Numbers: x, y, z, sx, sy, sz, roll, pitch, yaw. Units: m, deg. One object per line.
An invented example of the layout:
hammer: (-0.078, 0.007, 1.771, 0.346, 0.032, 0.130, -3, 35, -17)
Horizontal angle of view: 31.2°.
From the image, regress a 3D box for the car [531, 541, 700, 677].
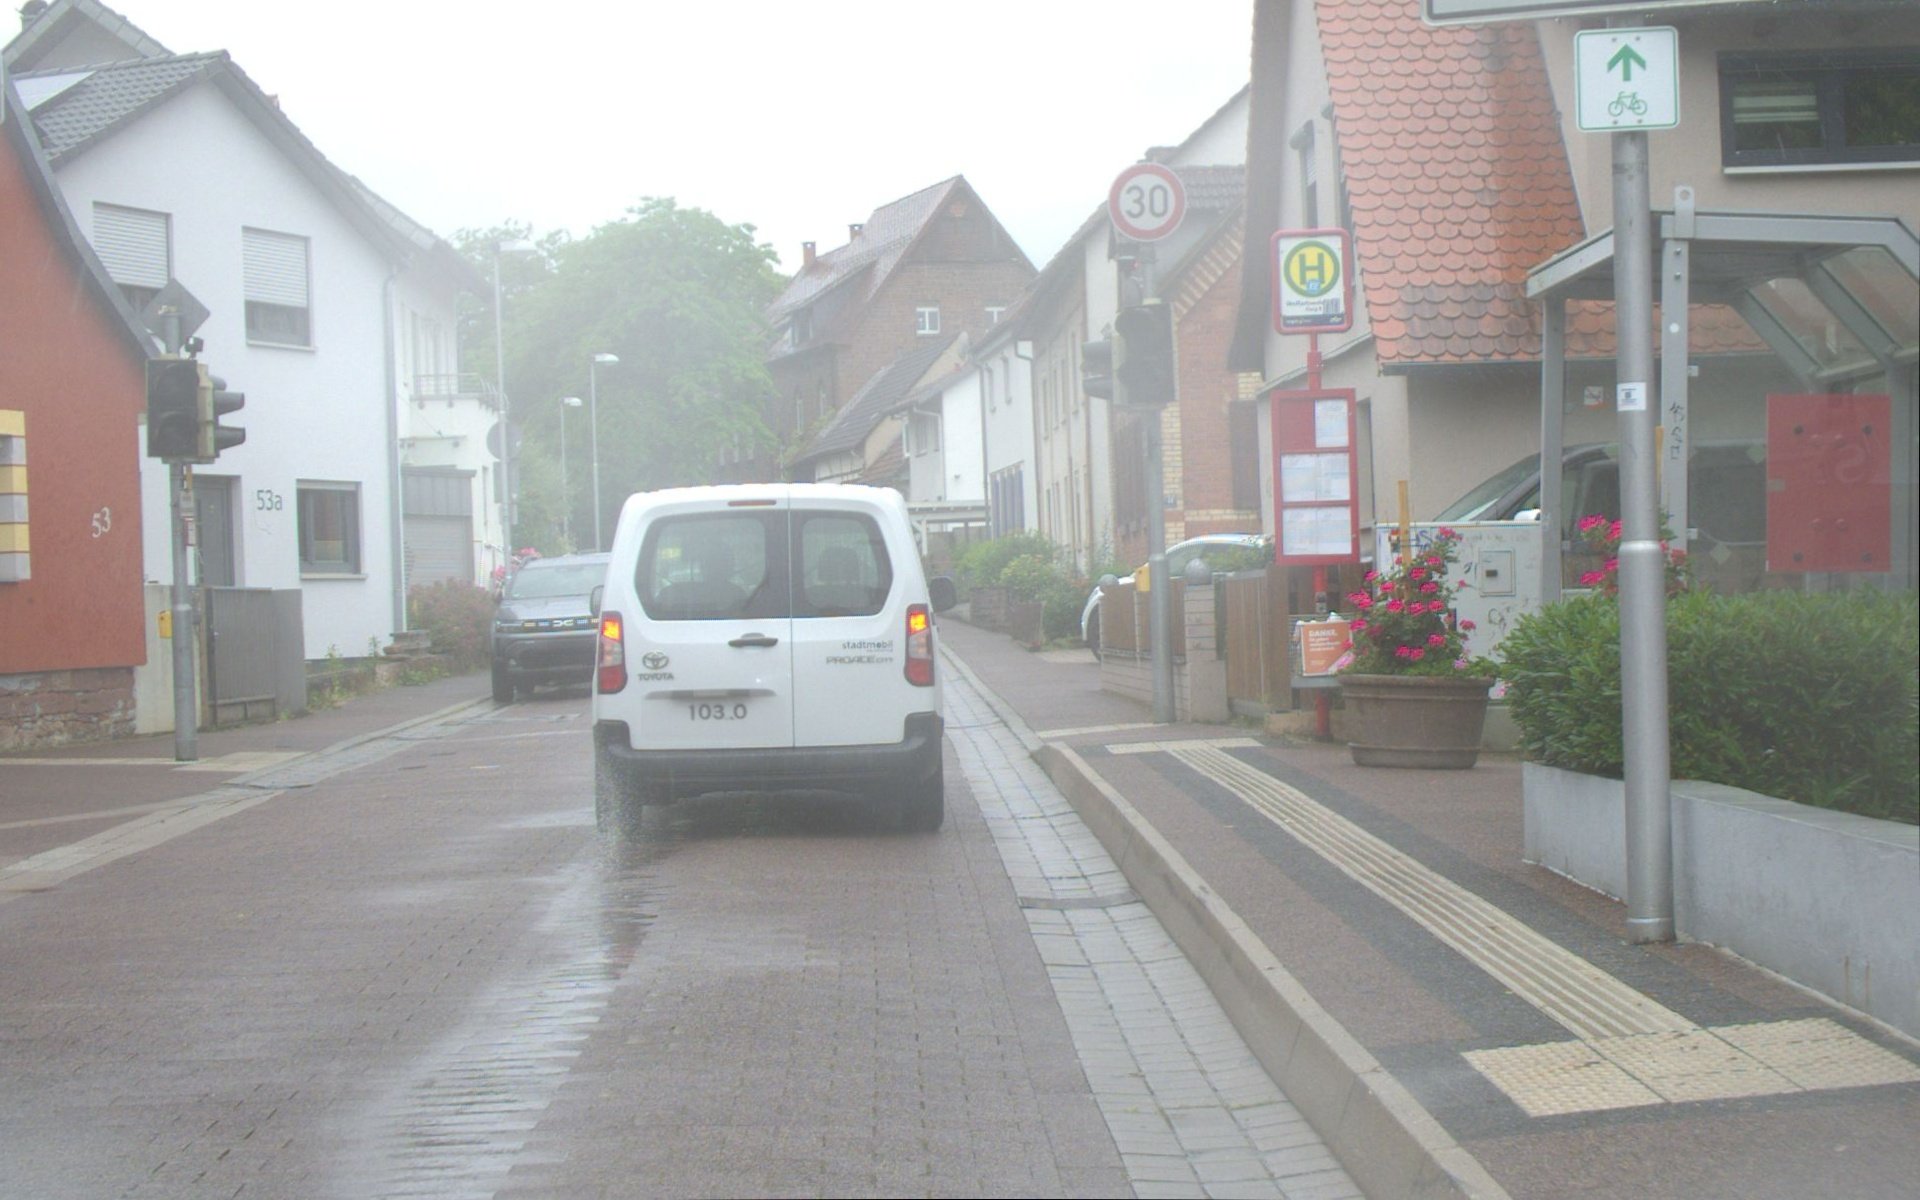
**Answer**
car: (-4.607, 0.116, 46.561, 1.748, 1.631, 4.418, -4, 0, 0)

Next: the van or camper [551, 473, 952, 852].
van or camper: (-1.069, 0.244, 18.836, 1.943, 1.844, 4.001, 0, 2, -1)

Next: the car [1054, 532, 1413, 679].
car: (3.237, 0.011, 41.660, 1.871, 1.584, 4.619, -1, 3, -34)

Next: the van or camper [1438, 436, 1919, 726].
van or camper: (6.026, -0.129, 23.876, 5.068, 1.916, 1.876, 0, 1, -4)

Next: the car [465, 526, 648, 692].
car: (-4.677, 0.054, 40.327, 1.812, 1.773, 4.018, -2, 1, -3)
